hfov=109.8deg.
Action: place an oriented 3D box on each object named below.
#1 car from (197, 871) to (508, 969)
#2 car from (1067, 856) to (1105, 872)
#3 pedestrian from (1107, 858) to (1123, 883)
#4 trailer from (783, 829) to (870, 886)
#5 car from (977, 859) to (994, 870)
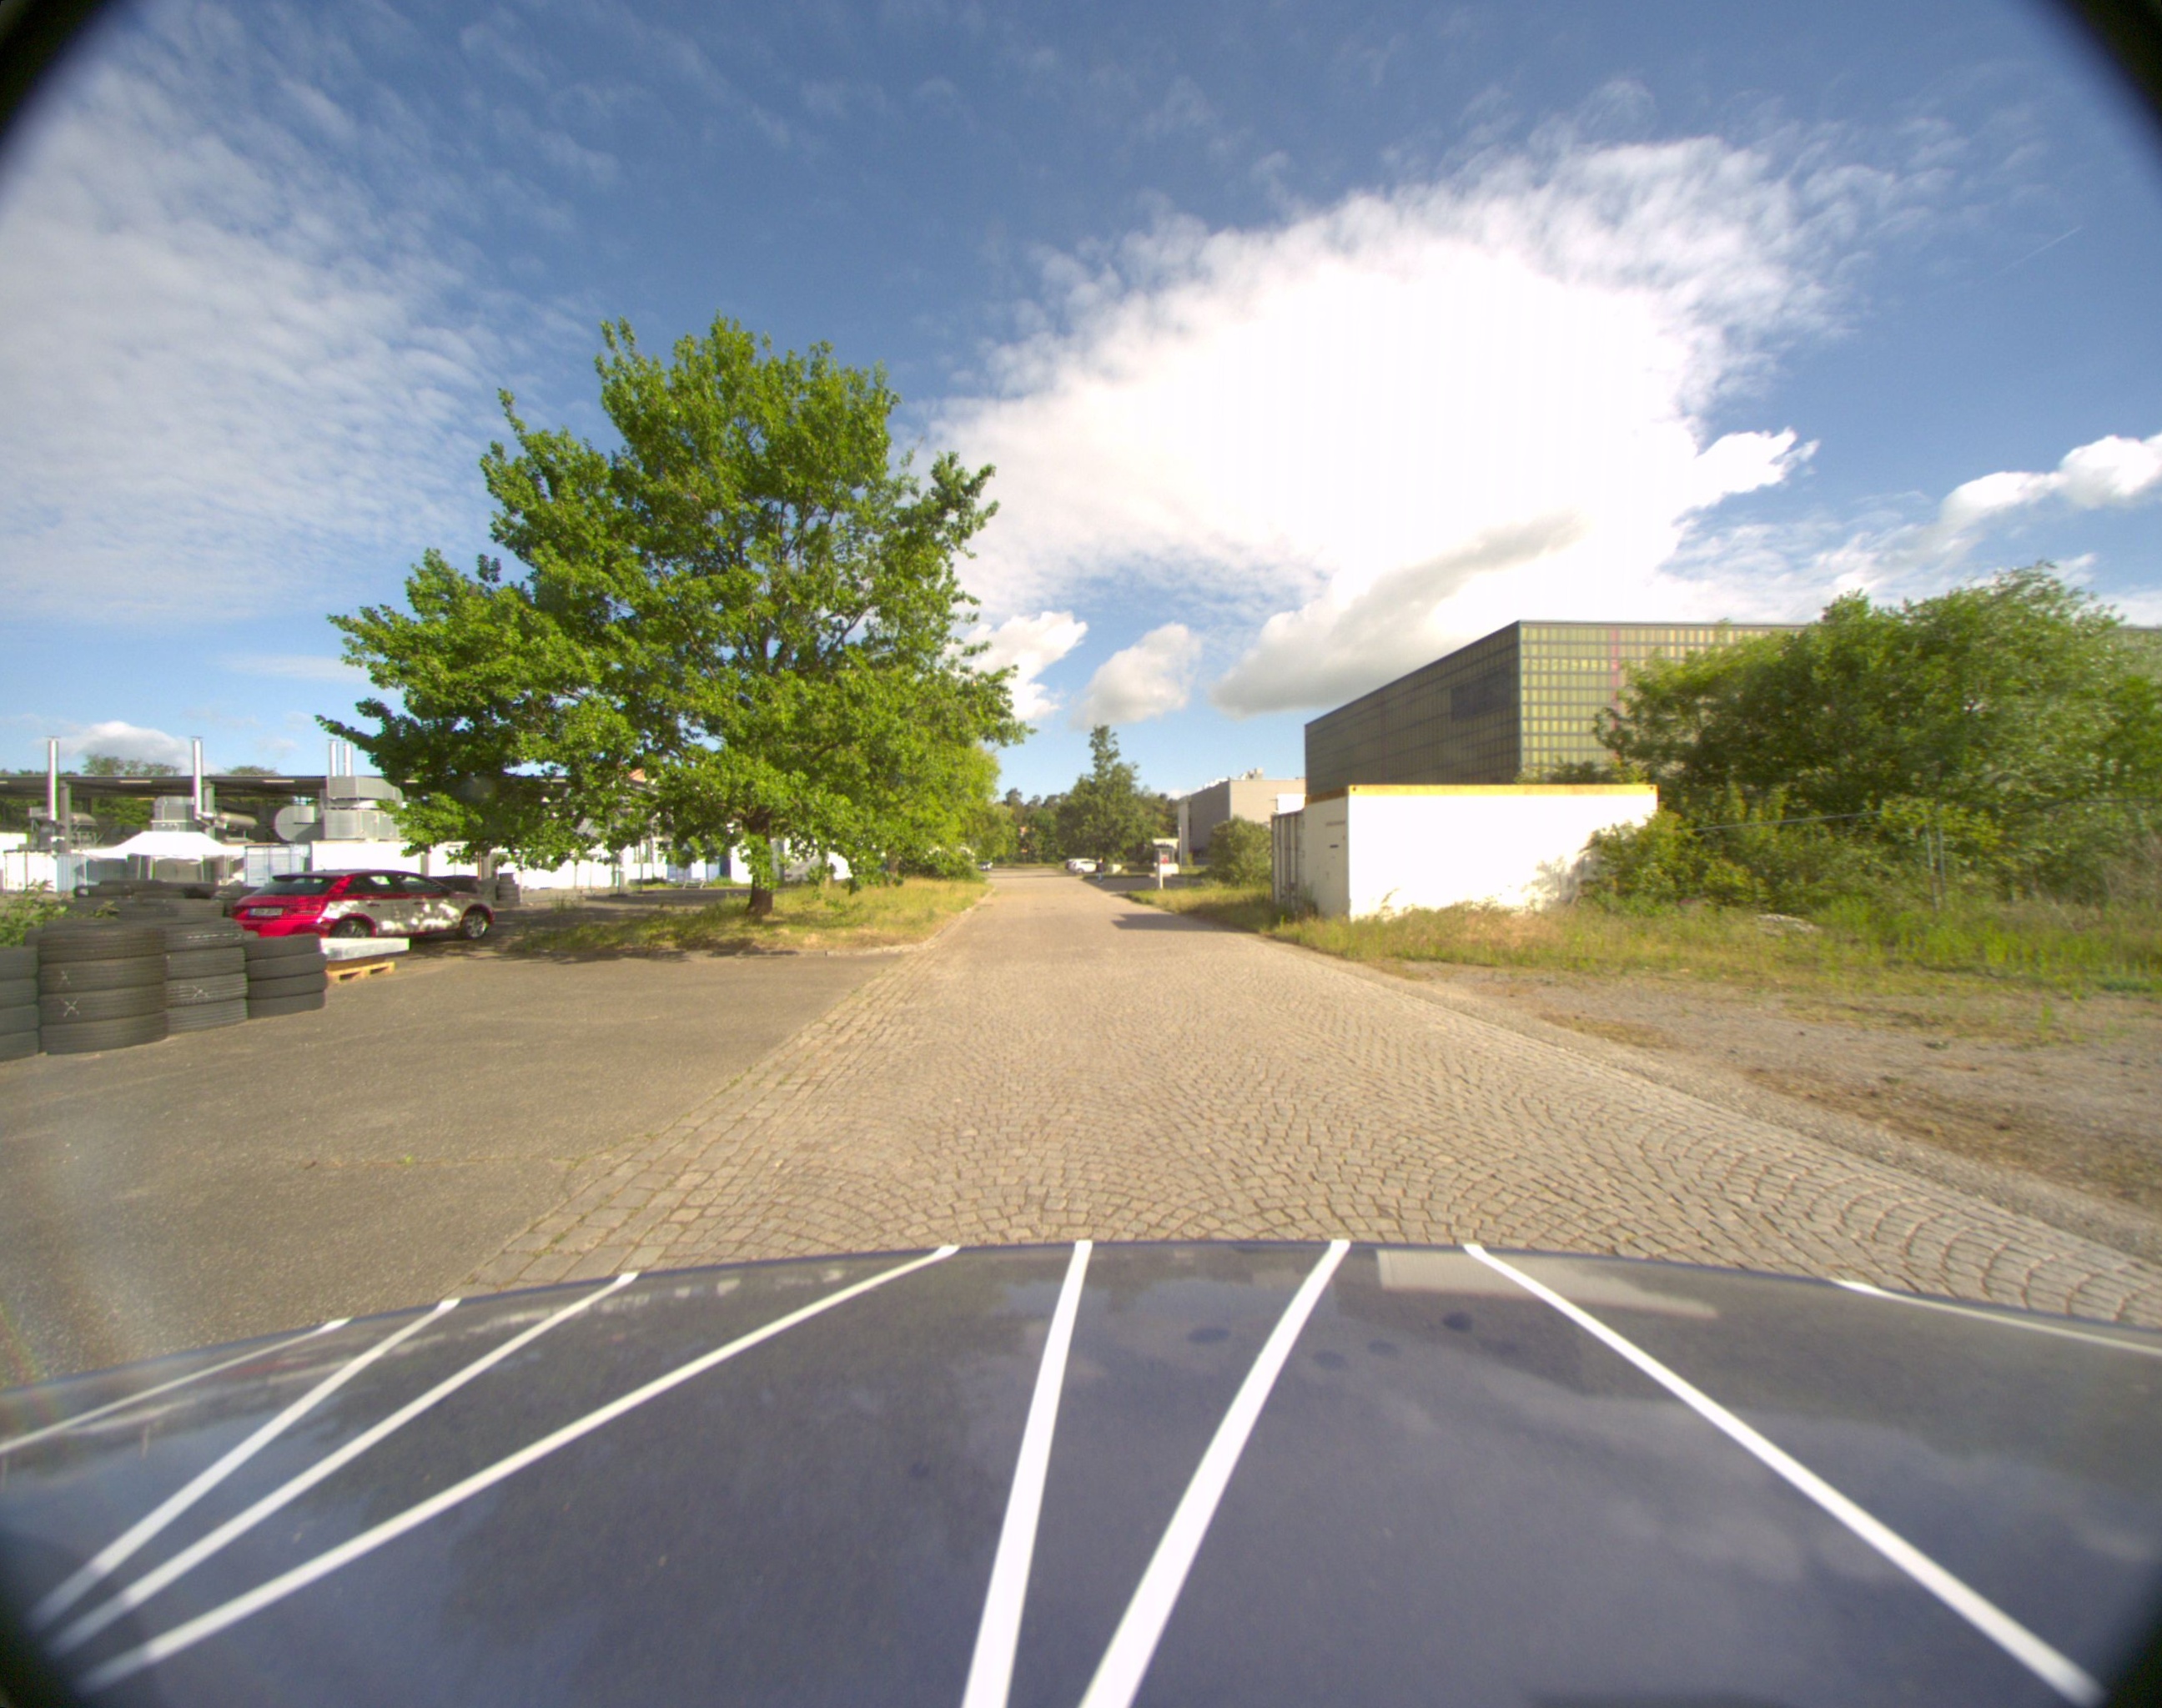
[{"bbox_3d":[-12.916,1.078,13.893,1.726,1.455,4.001,-1,0,2],"label":"car"},{"bbox_3d":[0.583,1.035,80.800,3.996,1.633,2.000,-1,0,1],"label":"car"},{"bbox_3d":[2.121,1.023,46.985,0.866,1.549,1.028,-1,0,7],"label":"pedestrian"},{"bbox_3d":[-17.070,0.223,51.781,2.925,3.450,9.899,-1,0,-2],"label":"trailer"},{"bbox_3d":[-13.075,1.421,104.001,2.000,1.363,3.996,-1,0,-10],"label":"car"}]
